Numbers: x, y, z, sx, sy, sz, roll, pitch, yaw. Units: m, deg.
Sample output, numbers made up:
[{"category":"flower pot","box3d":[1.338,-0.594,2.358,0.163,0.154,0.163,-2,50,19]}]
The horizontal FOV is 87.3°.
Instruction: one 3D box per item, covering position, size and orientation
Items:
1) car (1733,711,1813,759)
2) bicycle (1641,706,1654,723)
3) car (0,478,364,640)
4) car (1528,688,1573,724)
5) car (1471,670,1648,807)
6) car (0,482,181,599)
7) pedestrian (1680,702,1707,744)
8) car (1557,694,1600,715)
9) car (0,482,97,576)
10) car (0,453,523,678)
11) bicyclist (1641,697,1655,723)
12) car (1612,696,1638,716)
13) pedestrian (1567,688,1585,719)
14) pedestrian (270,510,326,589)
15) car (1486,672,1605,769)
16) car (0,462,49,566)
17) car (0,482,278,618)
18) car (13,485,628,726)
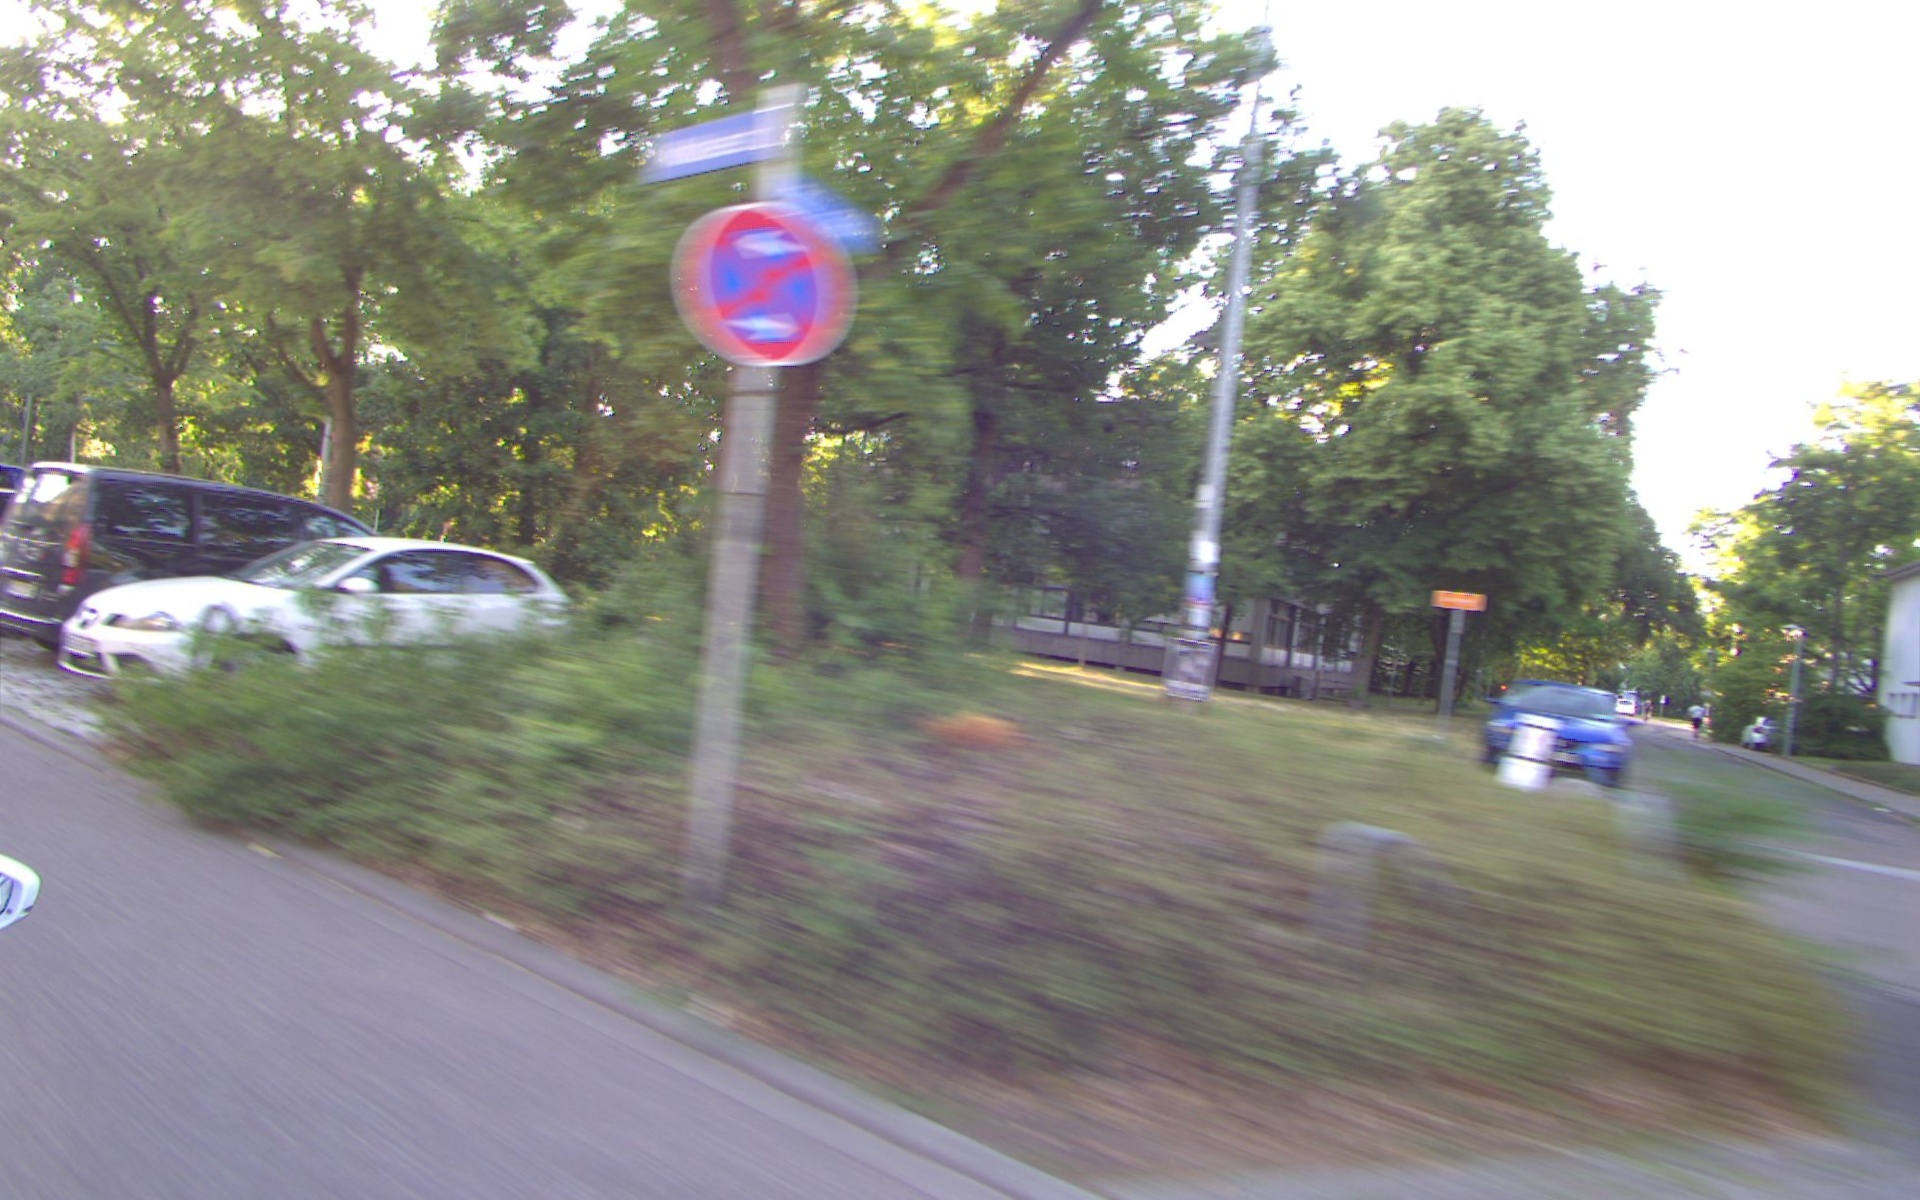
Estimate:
[{"category":"car","box3d":[34.693,5.730,43.038,1.967,1.626,3.764,7,-1,31]},{"category":"bicycle","box3d":[57.963,9.665,84.833,0.736,1.282,2.129,7,-1,33]},{"category":"car","box3d":[-9.649,-0.459,11.591,1.844,1.574,4.367,7,1,30]},{"category":"car","box3d":[29.100,5.204,49.622,1.708,1.494,3.993,7,-1,31]},{"category":"car","box3d":[8.698,1.910,14.689,1.805,1.459,4.146,7,-1,31]},{"category":"car","box3d":[-14.404,-0.986,14.680,1.888,1.557,4.367,7,1,30]},{"category":"pedestrian","box3d":[34.437,5.781,47.241,0.709,1.860,0.739,7,0,29]},{"category":"car","box3d":[68.779,11.625,111.960,3.934,1.682,1.996,7,0,32]},{"category":"car","box3d":[-18.323,-1.441,17.269,1.884,1.574,4.931,7,1,30]},{"category":"car","box3d":[-7.164,-0.264,10.530,1.888,1.803,4.367,7,1,30]},{"category":"bicyclist","box3d":[58.054,9.302,84.903,0.741,2.037,0.690,7,-1,33]},{"category":"car","box3d":[79.101,12.553,119.704,1.966,2.038,3.995,7,-1,29]},{"category":"pedestrian","box3d":[39.563,6.644,64.618,0.709,1.860,0.739,7,0,29]},{"category":"pedestrian","box3d":[-16.185,-1.237,24.598,0.772,1.793,0.665,8,0,27]},{"category":"car","box3d":[11.564,2.318,19.891,1.708,1.494,3.993,7,-1,31]},{"category":"car","box3d":[-20.241,-1.858,18.441,1.884,1.940,4.856,7,1,30]},{"category":"car","box3d":[-12.110,-0.708,13.566,1.888,1.557,4.367,7,1,30]},{"category":"car","box3d":[-5.393,0.086,9.164,1.698,1.574,4.367,7,1,30]}]
